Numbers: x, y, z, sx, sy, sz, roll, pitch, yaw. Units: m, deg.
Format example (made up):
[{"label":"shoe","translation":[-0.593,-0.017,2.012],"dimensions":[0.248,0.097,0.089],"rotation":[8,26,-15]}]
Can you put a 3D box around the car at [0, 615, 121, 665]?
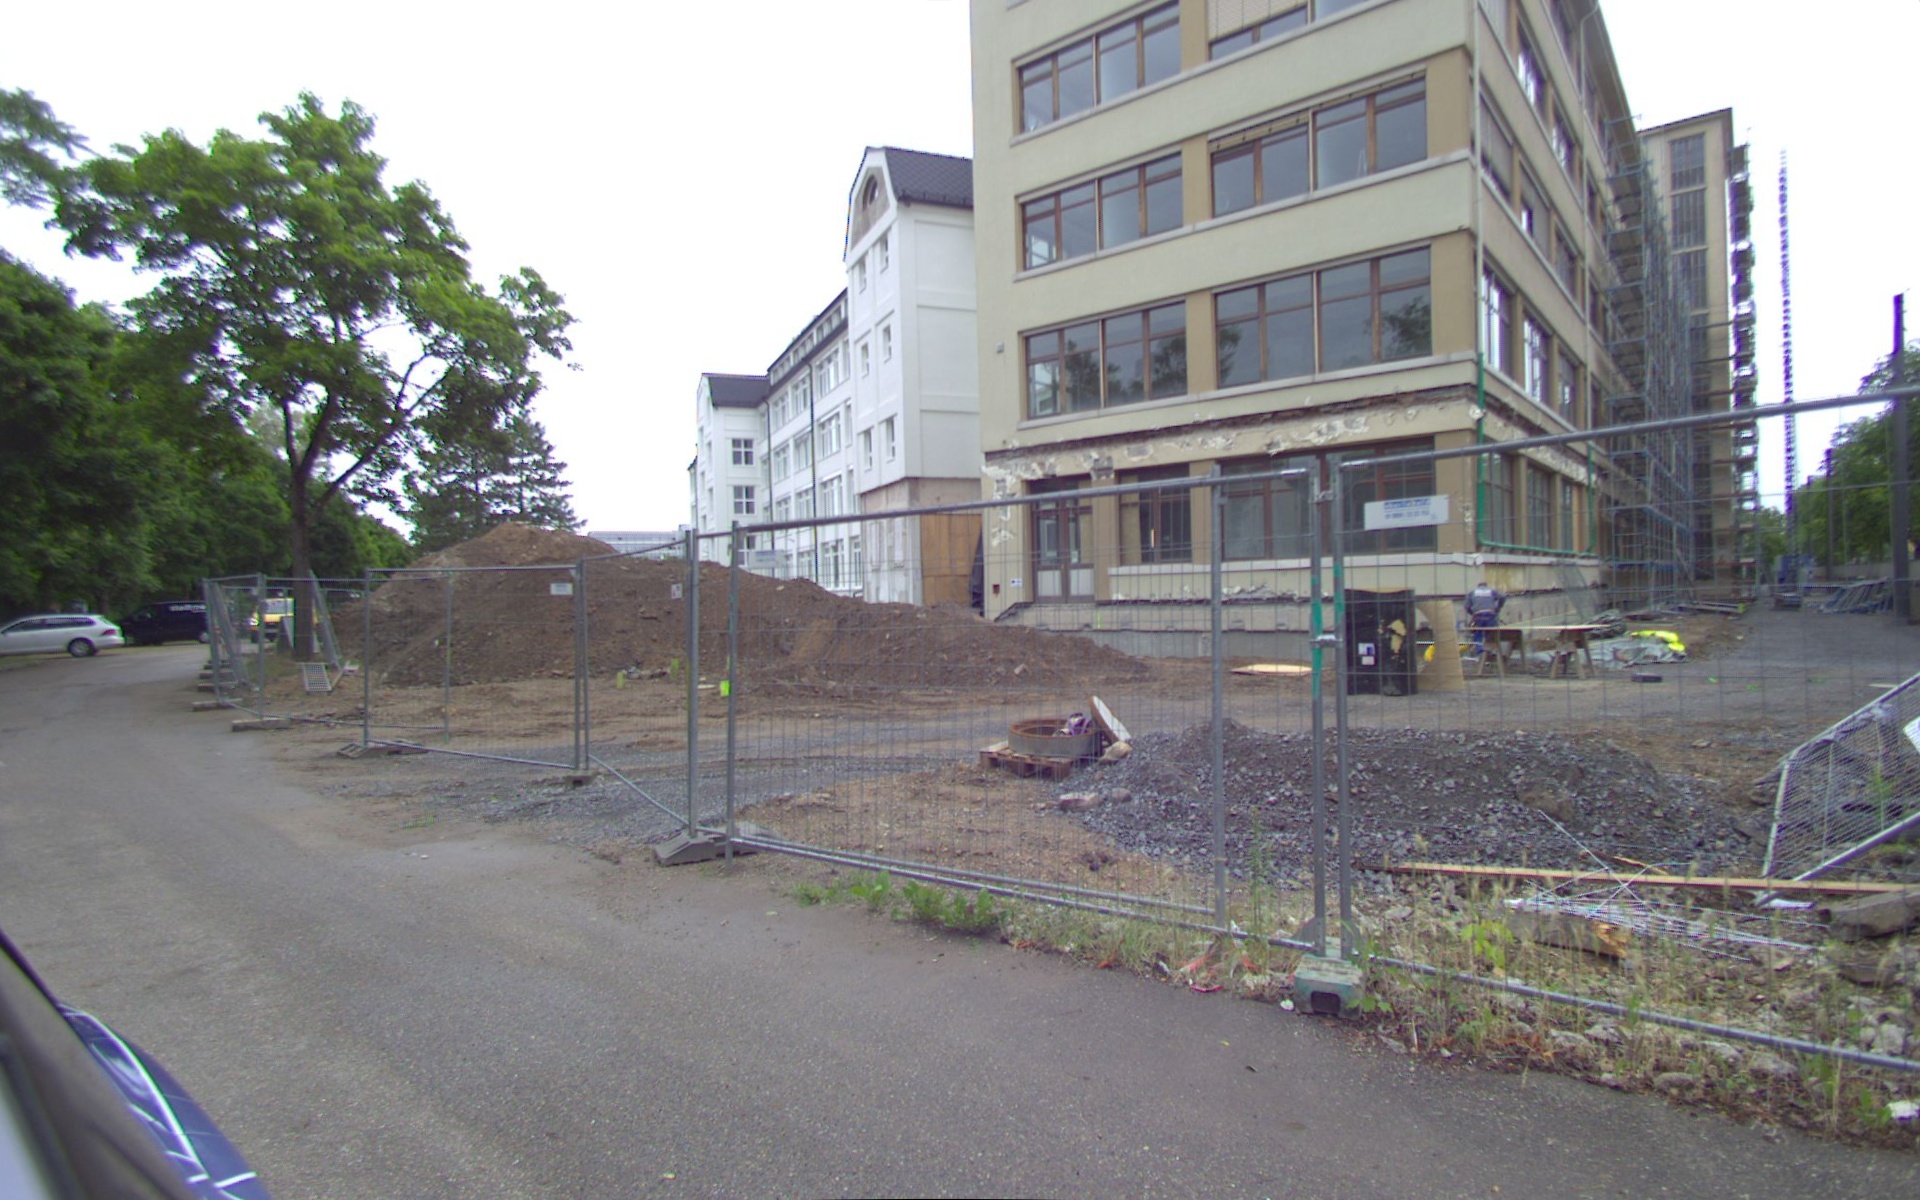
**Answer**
[{"label":"car","translation":[-31.644,1.366,35.058],"dimensions":[3.822,1.586,1.756],"rotation":[-2,0,-35]}]

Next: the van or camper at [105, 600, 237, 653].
[{"label":"van or camper","translation":[-36.440,1.195,46.889],"dimensions":[4.423,2.275,2.007],"rotation":[-1,0,-23]}]

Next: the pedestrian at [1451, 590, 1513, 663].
[{"label":"pedestrian","translation":[10.685,0.537,20.744],"dimensions":[0.975,1.448,0.925],"rotation":[-1,0,19]}]

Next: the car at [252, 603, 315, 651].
[{"label":"car","translation":[-30.942,1.215,46.399],"dimensions":[2.089,2.029,4.012],"rotation":[-1,0,-30]}]
